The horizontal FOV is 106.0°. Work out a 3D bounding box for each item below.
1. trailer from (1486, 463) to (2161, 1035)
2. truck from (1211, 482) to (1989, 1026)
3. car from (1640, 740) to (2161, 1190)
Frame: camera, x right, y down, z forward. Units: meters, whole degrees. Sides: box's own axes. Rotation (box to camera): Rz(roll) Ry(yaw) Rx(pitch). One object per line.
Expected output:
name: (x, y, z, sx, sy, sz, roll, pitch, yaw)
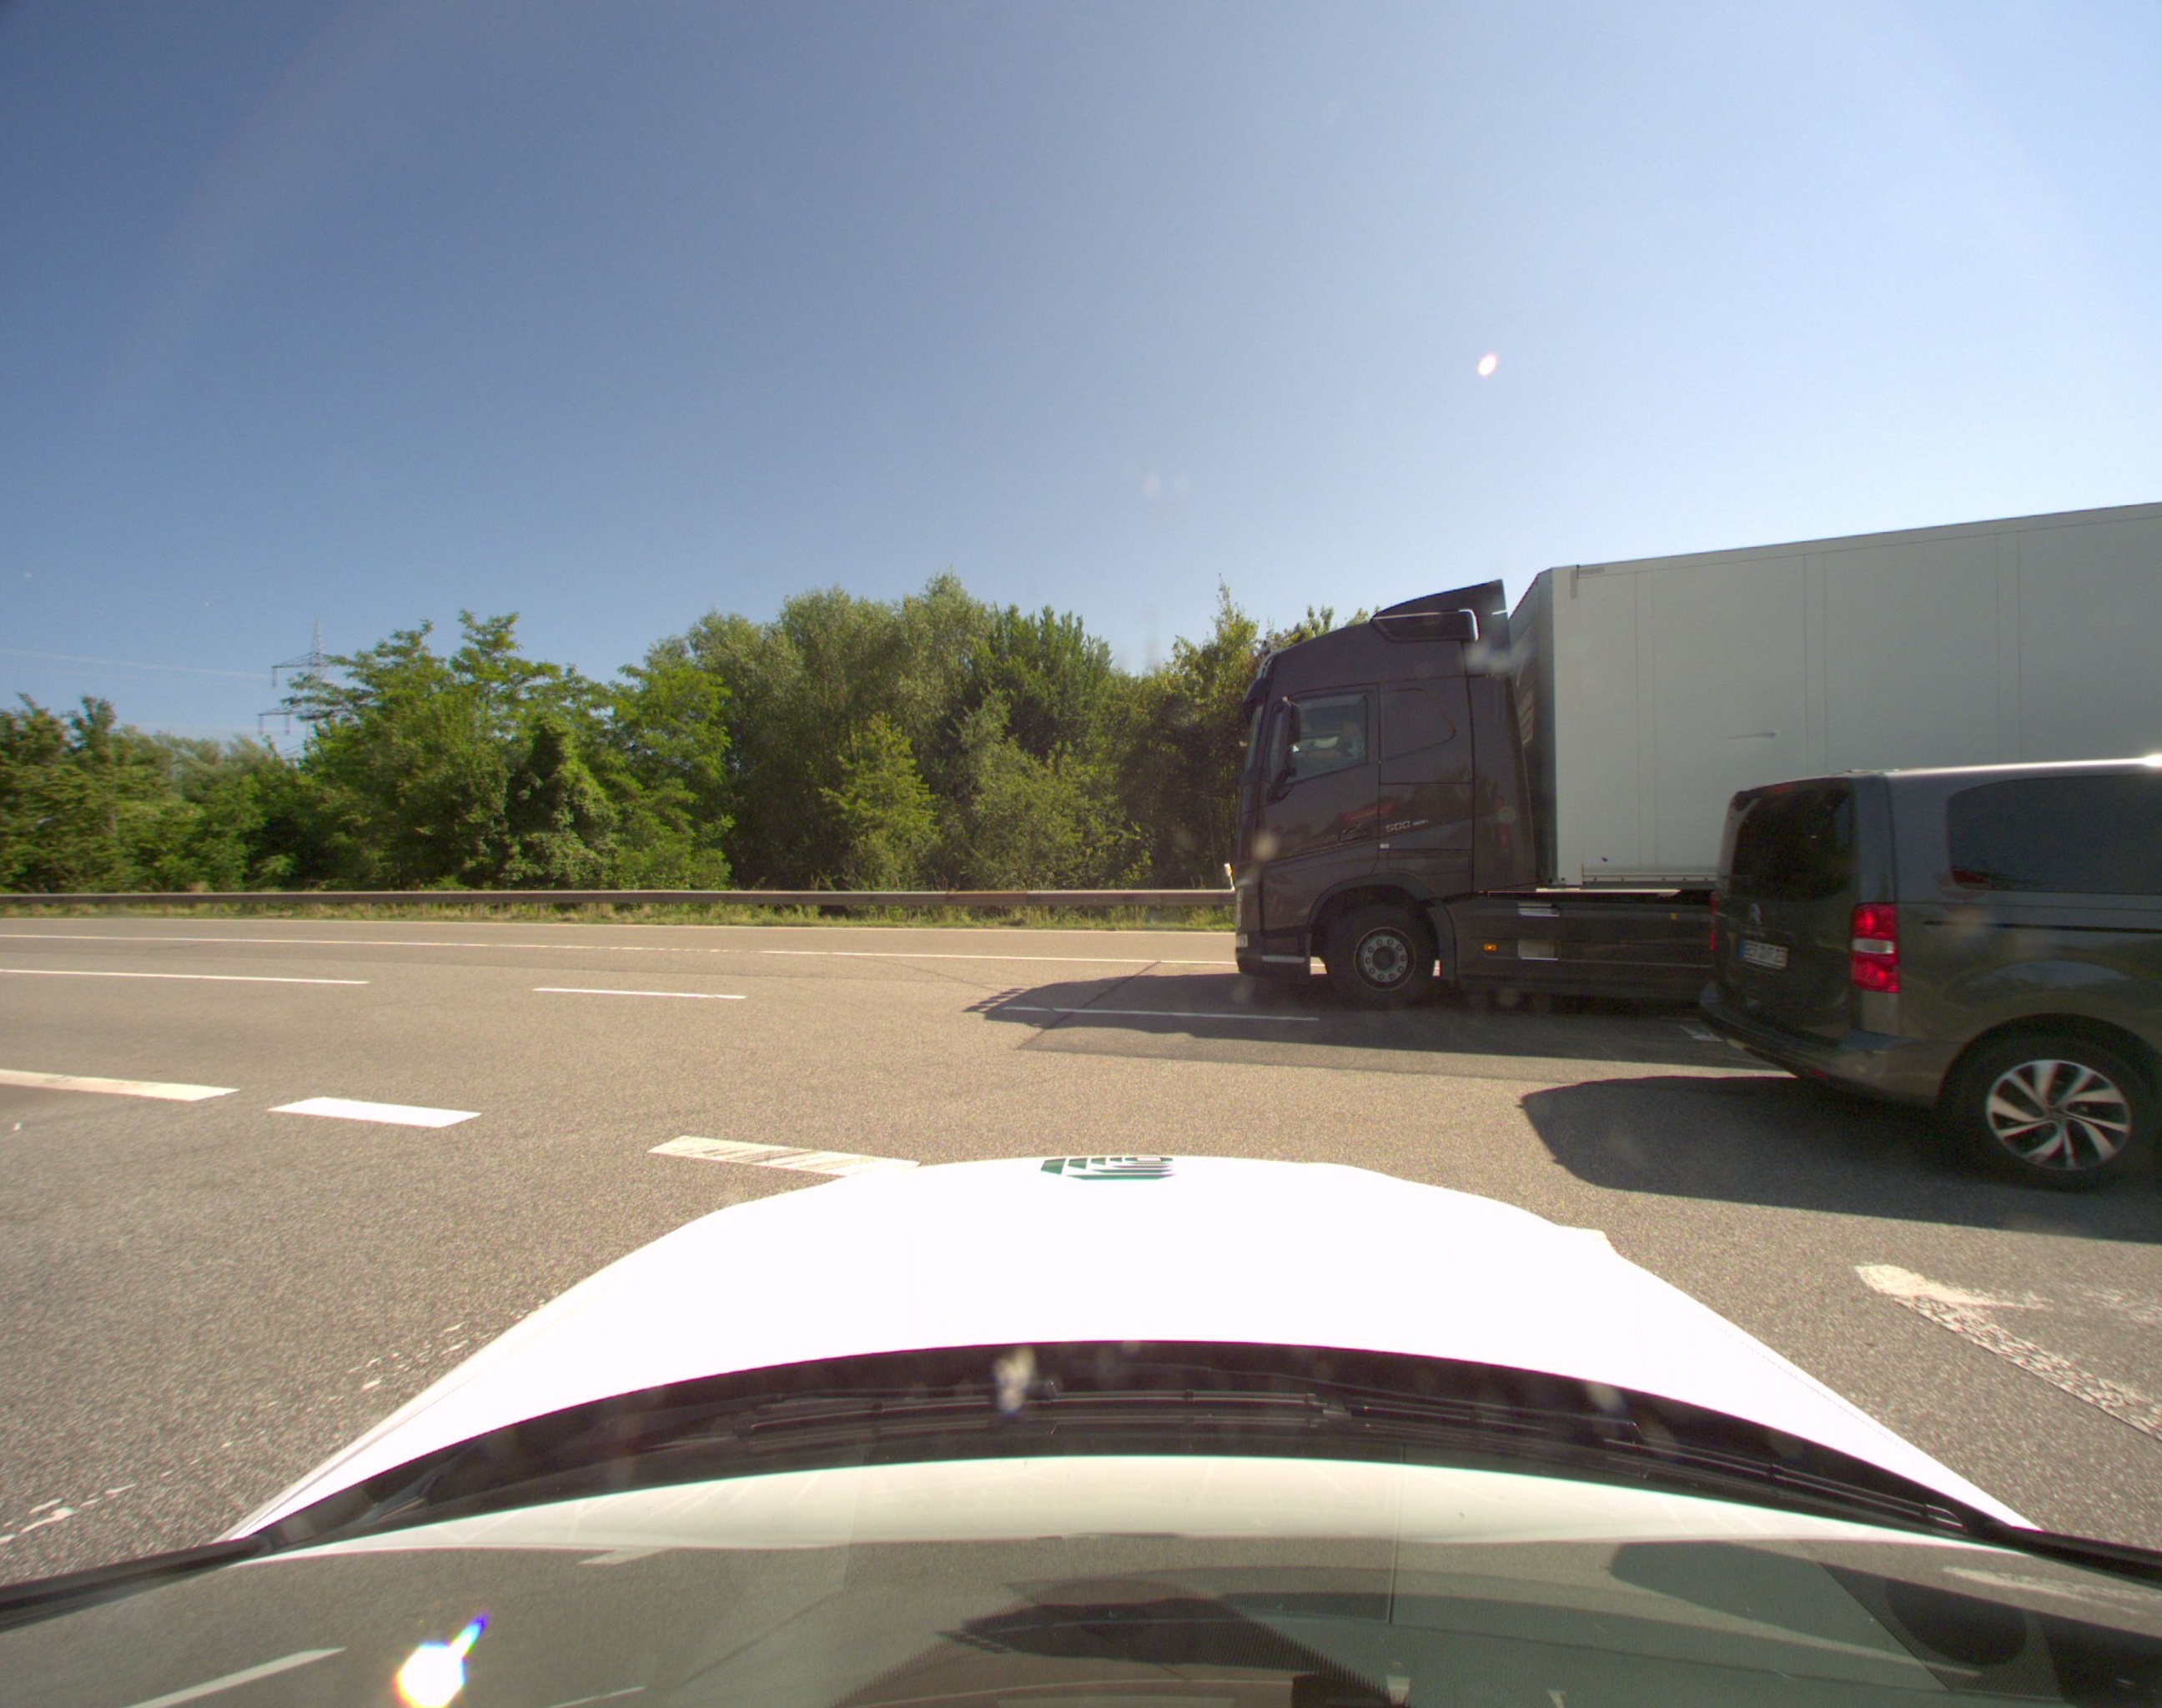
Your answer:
trailer: (11.074, -0.822, 6.403, 13.822, 4.165, 2.910, -1, 0, 18)
truck: (4.578, -0.751, 8.515, 5.903, 4.173, 2.893, -1, 0, 18)
car: (5.982, 0.433, 4.003, 4.938, 1.879, 2.009, -1, 0, 17)
